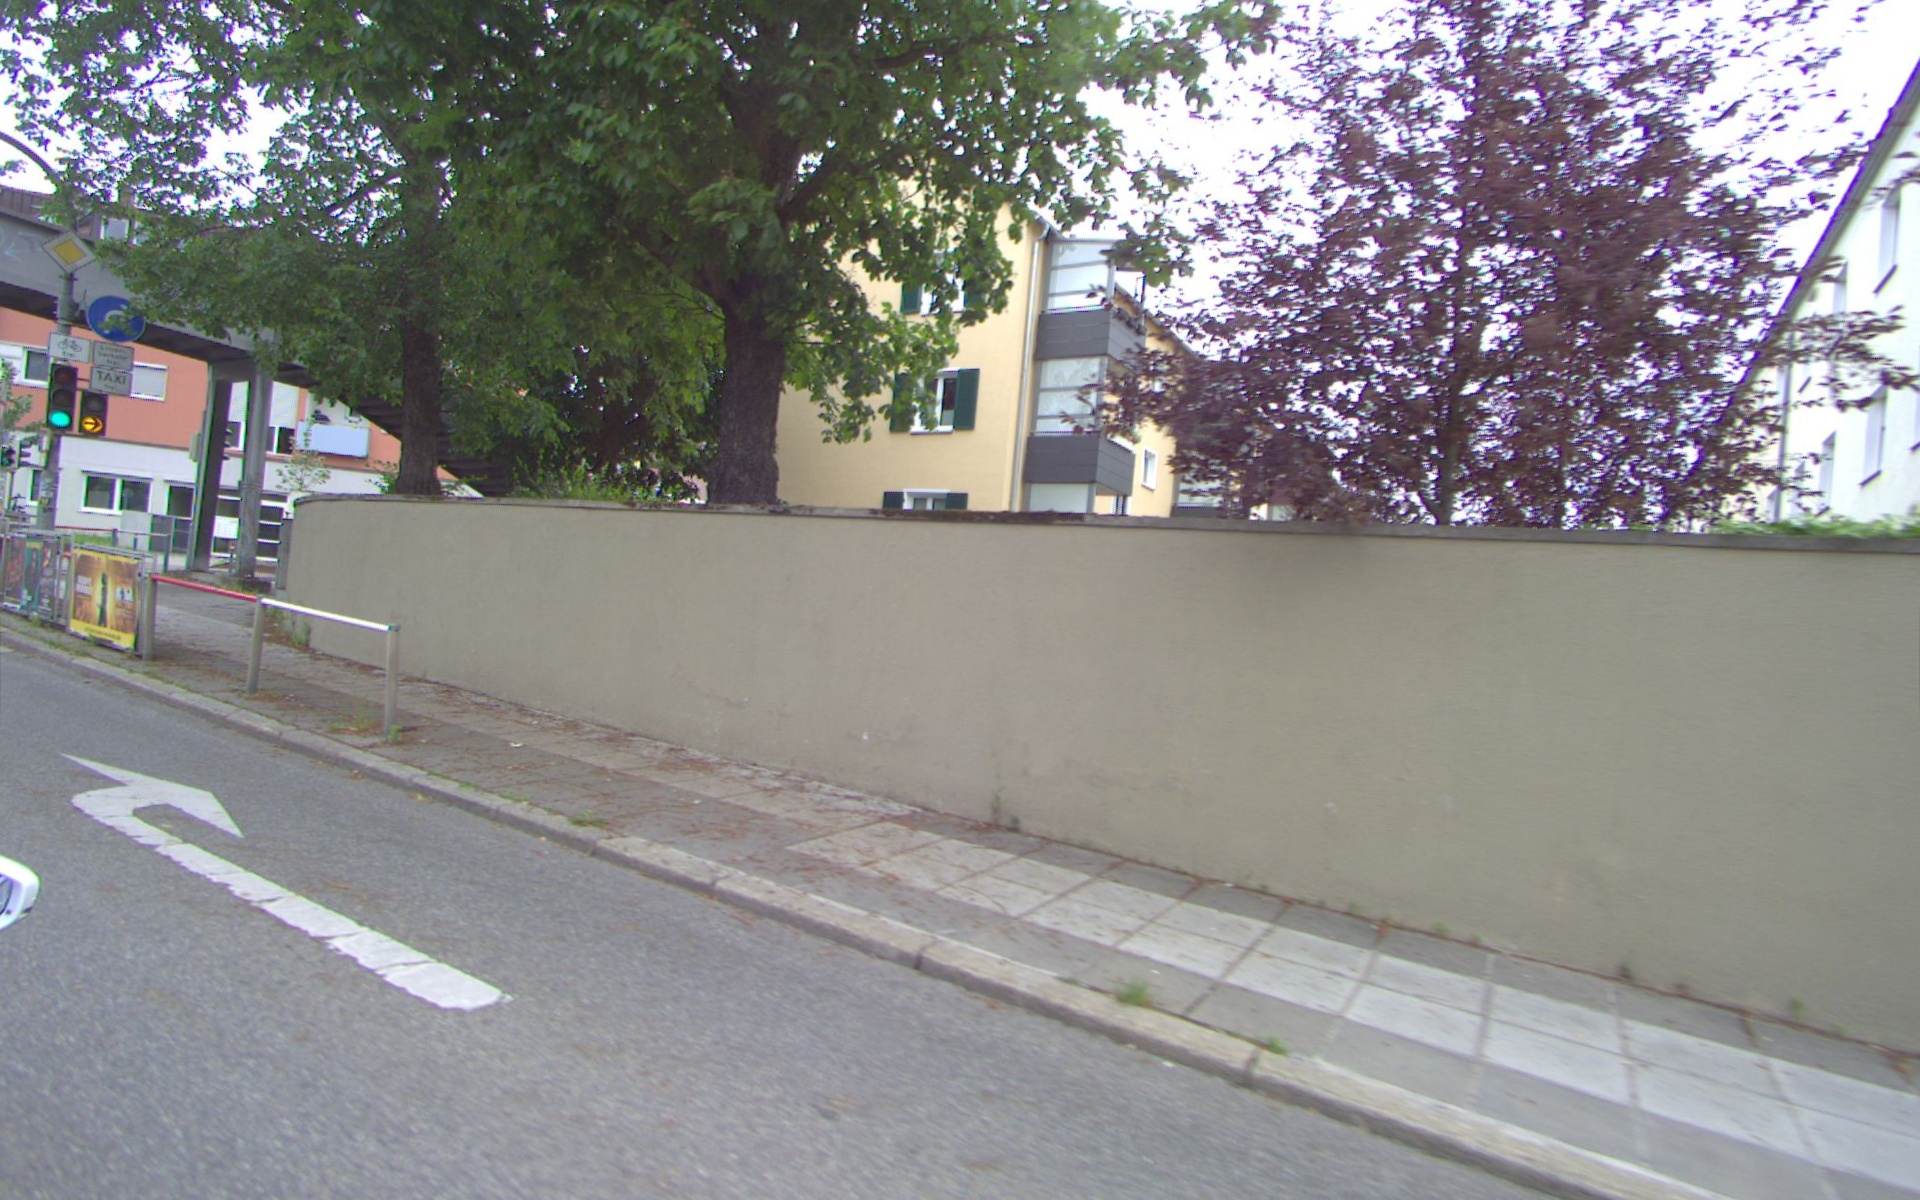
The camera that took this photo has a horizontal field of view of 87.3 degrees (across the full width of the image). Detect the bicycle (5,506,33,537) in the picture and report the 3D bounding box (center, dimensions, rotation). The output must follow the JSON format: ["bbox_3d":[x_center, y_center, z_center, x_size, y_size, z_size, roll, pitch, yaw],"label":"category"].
[{"bbox_3d":[-30.352,-2.523,32.451,0.338,0.914,1.727,7,-1,-35],"label":"bicycle"}]
